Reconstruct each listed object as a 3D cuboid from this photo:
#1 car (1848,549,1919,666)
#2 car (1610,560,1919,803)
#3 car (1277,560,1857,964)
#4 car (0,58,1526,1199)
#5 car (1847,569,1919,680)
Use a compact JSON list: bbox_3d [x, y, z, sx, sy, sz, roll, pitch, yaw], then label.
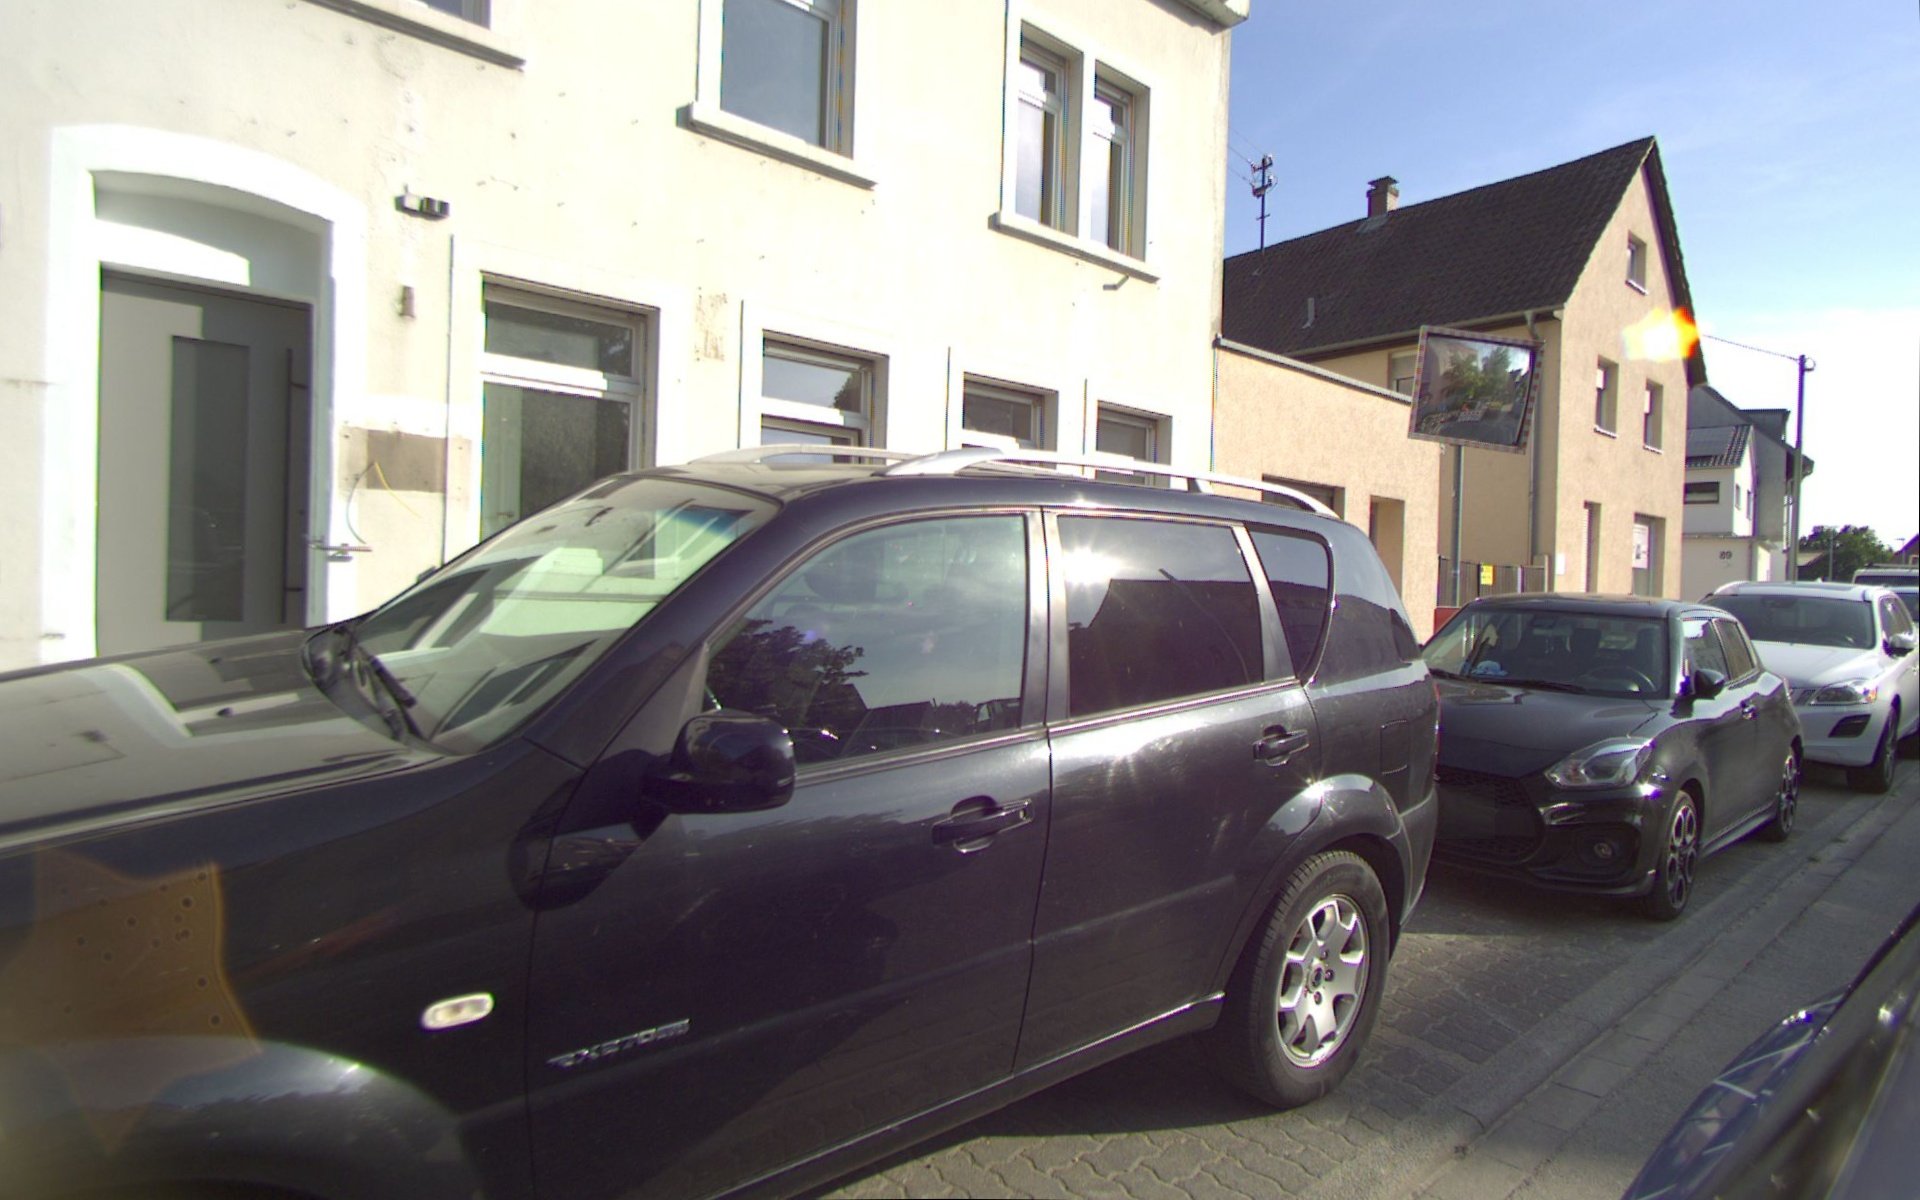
[{"bbox_3d":[21.345,0.208,22.253,4.913,2.356,2.178,1,2,-43],"label":"car"},{"bbox_3d":[7.883,0.578,9.451,4.398,1.704,1.816,1,3,-41],"label":"car"},{"bbox_3d":[3.882,0.618,6.064,4.533,1.547,1.592,0,3,-41],"label":"car"},{"bbox_3d":[-0.583,0.333,2.785,4.525,1.878,2.082,2,2,-38],"label":"car"},{"bbox_3d":[17.373,0.455,18.013,4.406,1.762,1.781,1,4,-42],"label":"car"}]
